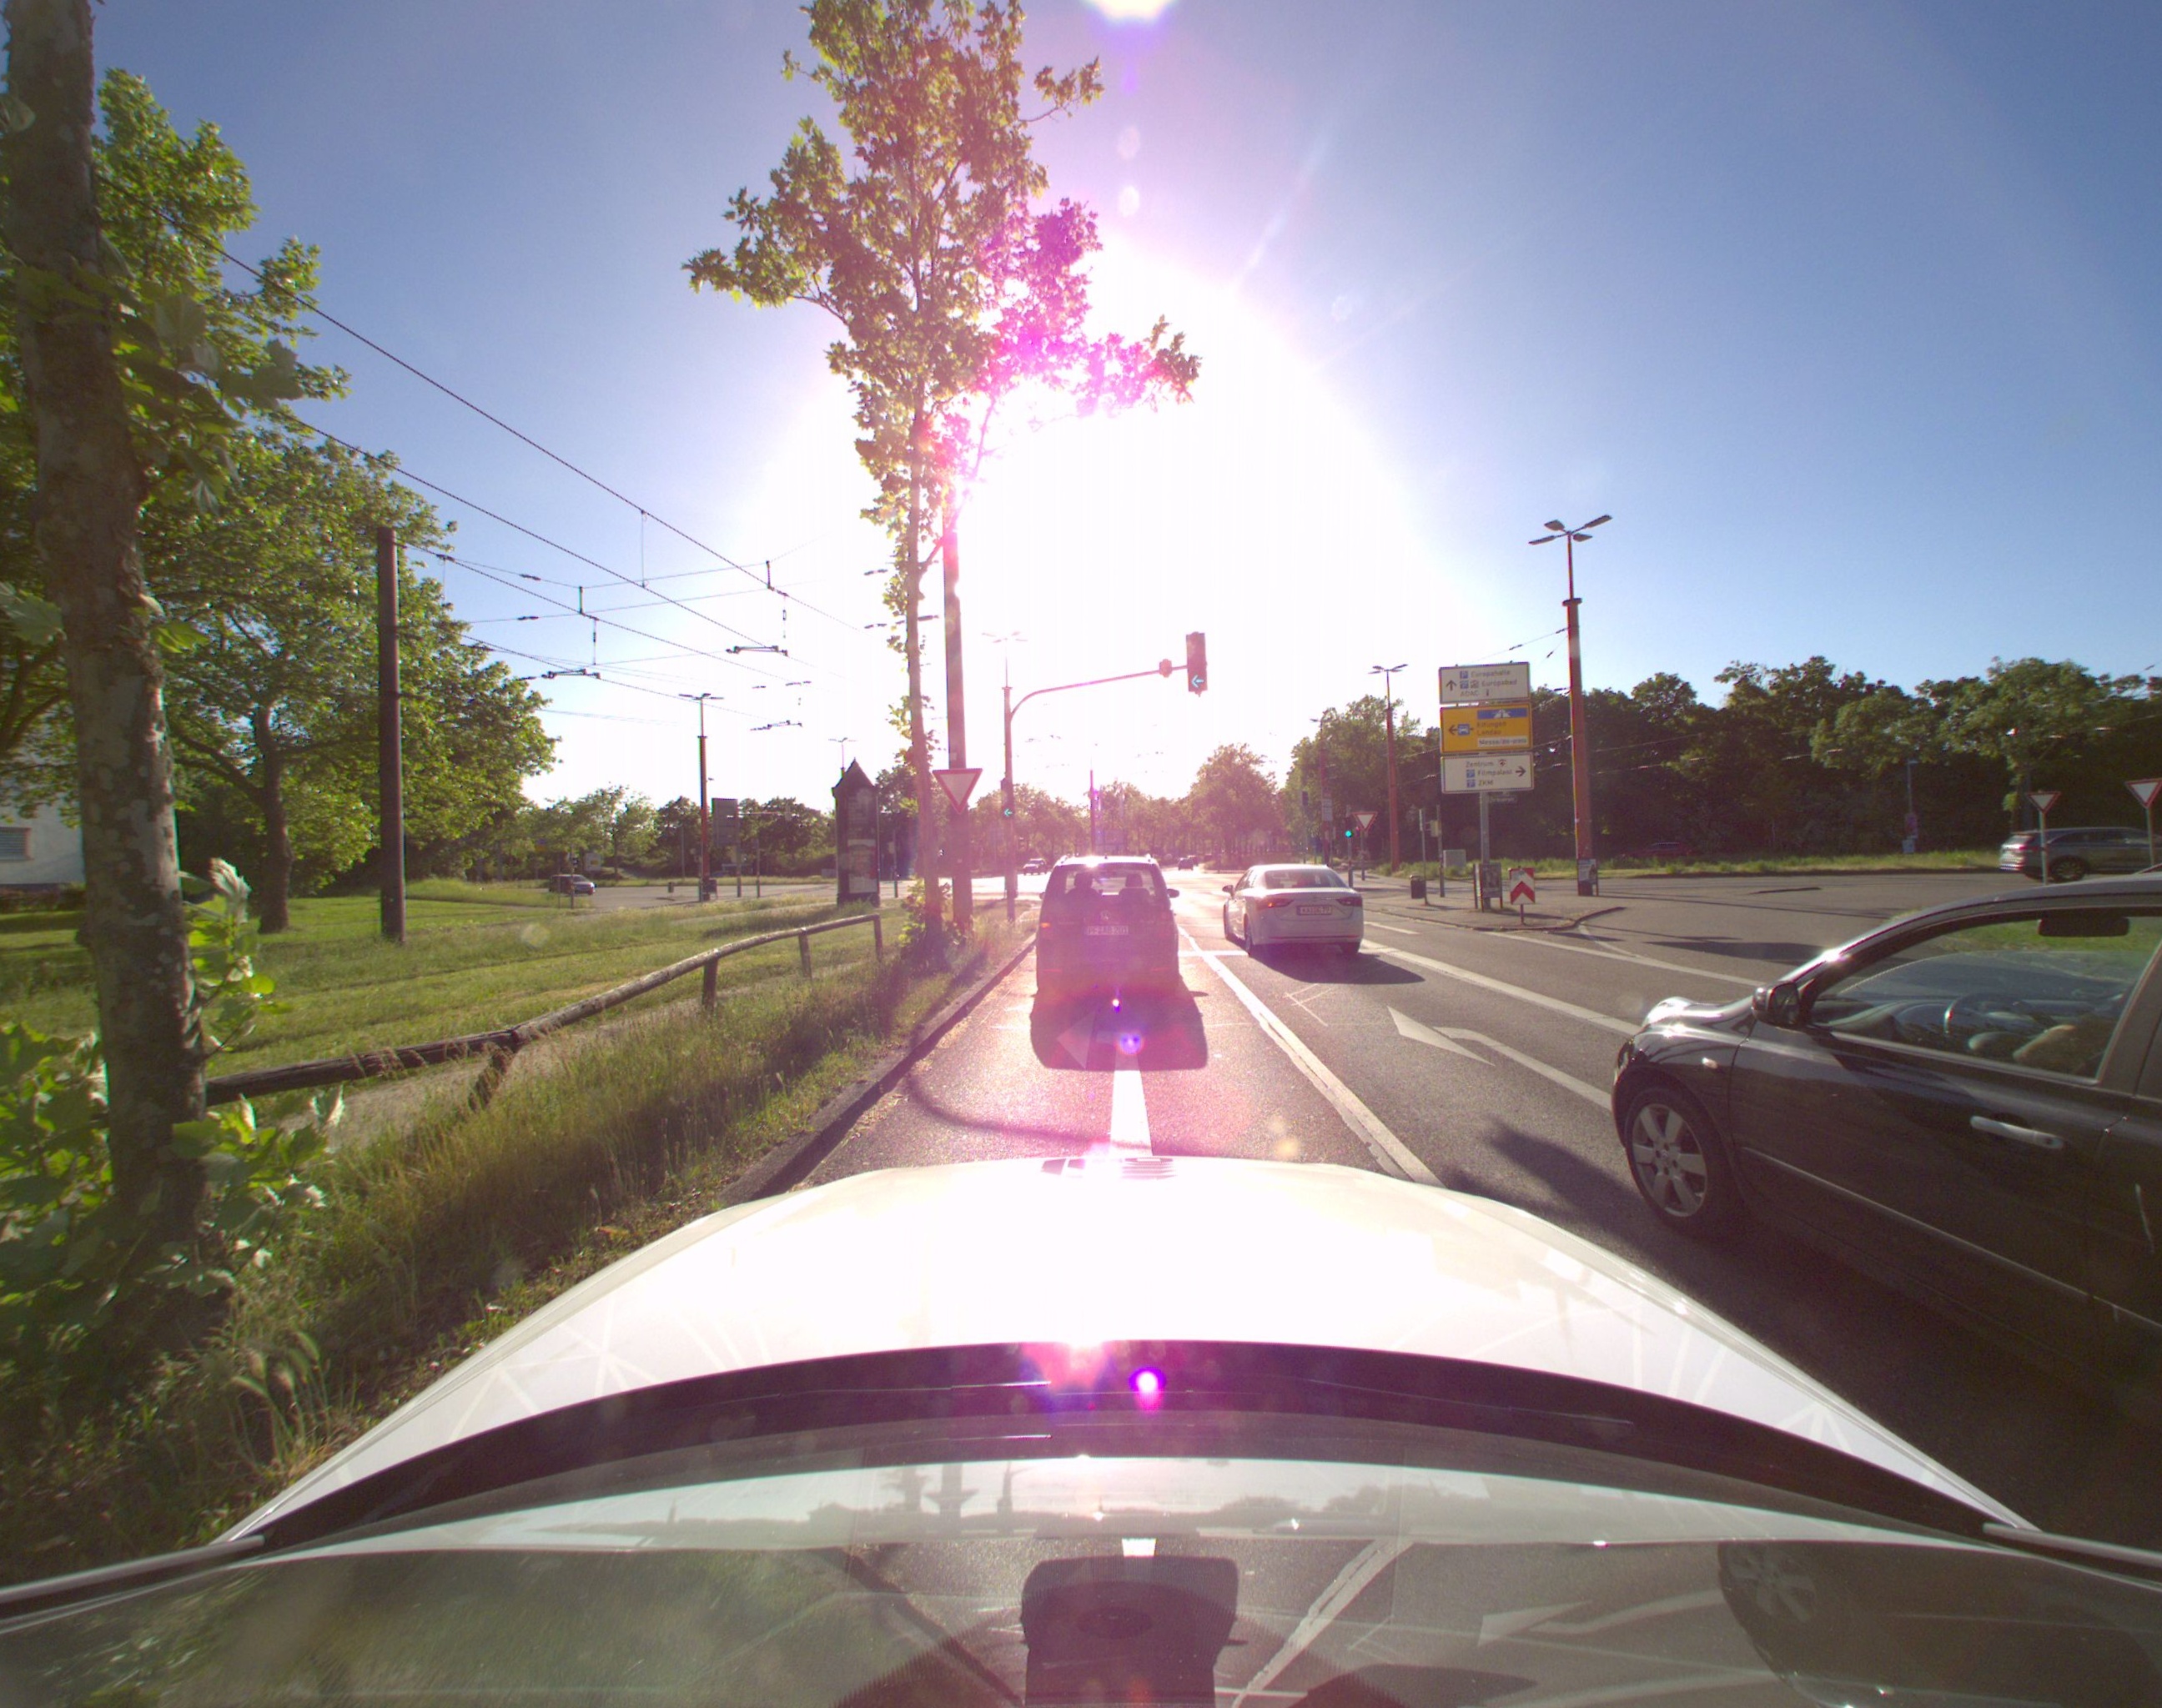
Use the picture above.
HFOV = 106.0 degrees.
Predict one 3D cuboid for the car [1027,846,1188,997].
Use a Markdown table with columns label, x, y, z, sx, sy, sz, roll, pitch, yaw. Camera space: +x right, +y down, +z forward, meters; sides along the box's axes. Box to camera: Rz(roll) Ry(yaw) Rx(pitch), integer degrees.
| label | x | y | z | sx | sy | sz | roll | pitch | yaw |
| --- | --- | --- | --- | --- | --- | --- | --- | --- | --- |
| car | 0.384 | 0.760 | 11.549 | 1.761 | 1.644 | 4.925 | -2 | 0 | 2 |

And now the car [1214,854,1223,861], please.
| label | x | y | z | sx | sy | sz | roll | pitch | yaw |
| --- | --- | --- | --- | --- | --- | --- | --- | --- | --- |
| car | 29.817 | 0.804 | 176.247 | 1.779 | 1.388 | 4.059 | -1 | 0 | 8 |

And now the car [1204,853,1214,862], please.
| label | x | y | z | sx | sy | sz | roll | pitch | yaw |
| --- | --- | --- | --- | --- | --- | --- | --- | --- | --- |
| car | 24.514 | 0.663 | 155.361 | 1.779 | 1.502 | 4.061 | -1 | 0 | 10 |

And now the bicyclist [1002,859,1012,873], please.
| label | x | y | z | sx | sy | sz | roll | pitch | yaw |
| --- | --- | --- | --- | --- | --- | --- | --- | --- | --- |
| bicyclist | -8.460 | 1.356 | 93.216 | 0.753 | 1.557 | 0.986 | -2 | 0 | 19 |

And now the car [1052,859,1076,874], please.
| label | x | y | z | sx | sy | sz | roll | pitch | yaw |
| --- | --- | --- | --- | --- | --- | --- | --- | --- | --- |
| car | -1.870 | 1.378 | 90.189 | 1.756 | 1.538 | 4.104 | -2 | 0 | 11 |

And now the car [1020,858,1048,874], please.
| label | x | y | z | sx | sy | sz | roll | pitch | yaw |
| --- | --- | --- | --- | --- | --- | --- | --- | --- | --- |
| car | -5.280 | 1.374 | 92.571 | 1.889 | 1.726 | 4.669 | -2 | 0 | 12 |

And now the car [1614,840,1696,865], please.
| label | x | y | z | sx | sy | sz | roll | pitch | yaw |
| --- | --- | --- | --- | --- | --- | --- | --- | --- | --- |
| car | 37.979 | -0.098 | 54.035 | 4.234 | 1.495 | 2.012 | -2 | 0 | 29 |

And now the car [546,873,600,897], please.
| label | x | y | z | sx | sy | sz | roll | pitch | yaw |
| --- | --- | --- | --- | --- | --- | --- | --- | --- | --- |
| car | -43.083 | 2.637 | 69.073 | 4.390 | 1.775 | 1.917 | -2 | 1 | 29 |

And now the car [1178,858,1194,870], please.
| label | x | y | z | sx | sy | sz | roll | pitch | yaw |
| --- | --- | --- | --- | --- | --- | --- | --- | --- | --- |
| car | 12.389 | 1.170 | 95.993 | 1.780 | 1.388 | 4.058 | -1 | 0 | 7 |

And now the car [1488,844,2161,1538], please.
| label | x | y | z | sx | sy | sz | roll | pitch | yaw |
| --- | --- | --- | --- | --- | --- | --- | --- | --- | --- |
| car | 3.227 | 0.727 | 2.523 | 1.728 | 1.482 | 4.624 | -2 | 0 | 2 |

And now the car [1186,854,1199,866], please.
| label | x | y | z | sx | sy | sz | roll | pitch | yaw |
| --- | --- | --- | --- | --- | --- | --- | --- | --- | --- |
| car | 16.462 | 0.911 | 120.109 | 1.862 | 1.627 | 4.008 | 0 | -1 | 7 |

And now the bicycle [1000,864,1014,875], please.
| label | x | y | z | sx | sy | sz | roll | pitch | yaw |
| --- | --- | --- | --- | --- | --- | --- | --- | --- | --- |
| bicycle | -8.471 | 1.776 | 93.138 | 0.757 | 1.091 | 2.025 | -2 | 0 | 19 |

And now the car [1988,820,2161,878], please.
| label | x | y | z | sx | sy | sz | roll | pitch | yaw |
| --- | --- | --- | --- | --- | --- | --- | --- | --- | --- |
| car | 32.607 | -0.167 | 25.877 | 4.633 | 1.704 | 2.013 | -2 | -1 | 31 |

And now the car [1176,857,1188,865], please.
| label | x | y | z | sx | sy | sz | roll | pitch | yaw |
| --- | --- | --- | --- | --- | --- | --- | --- | --- | --- |
| car | 17.774 | 1.194 | 143.035 | 1.779 | 1.388 | 4.060 | -1 | 0 | 9 |

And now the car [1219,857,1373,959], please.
| label | x | y | z | sx | sy | sz | roll | pitch | yaw |
| --- | --- | --- | --- | --- | --- | --- | --- | --- | --- |
| car | 3.573 | 0.823 | 14.341 | 1.760 | 1.464 | 4.370 | -2 | 0 | 3 |
